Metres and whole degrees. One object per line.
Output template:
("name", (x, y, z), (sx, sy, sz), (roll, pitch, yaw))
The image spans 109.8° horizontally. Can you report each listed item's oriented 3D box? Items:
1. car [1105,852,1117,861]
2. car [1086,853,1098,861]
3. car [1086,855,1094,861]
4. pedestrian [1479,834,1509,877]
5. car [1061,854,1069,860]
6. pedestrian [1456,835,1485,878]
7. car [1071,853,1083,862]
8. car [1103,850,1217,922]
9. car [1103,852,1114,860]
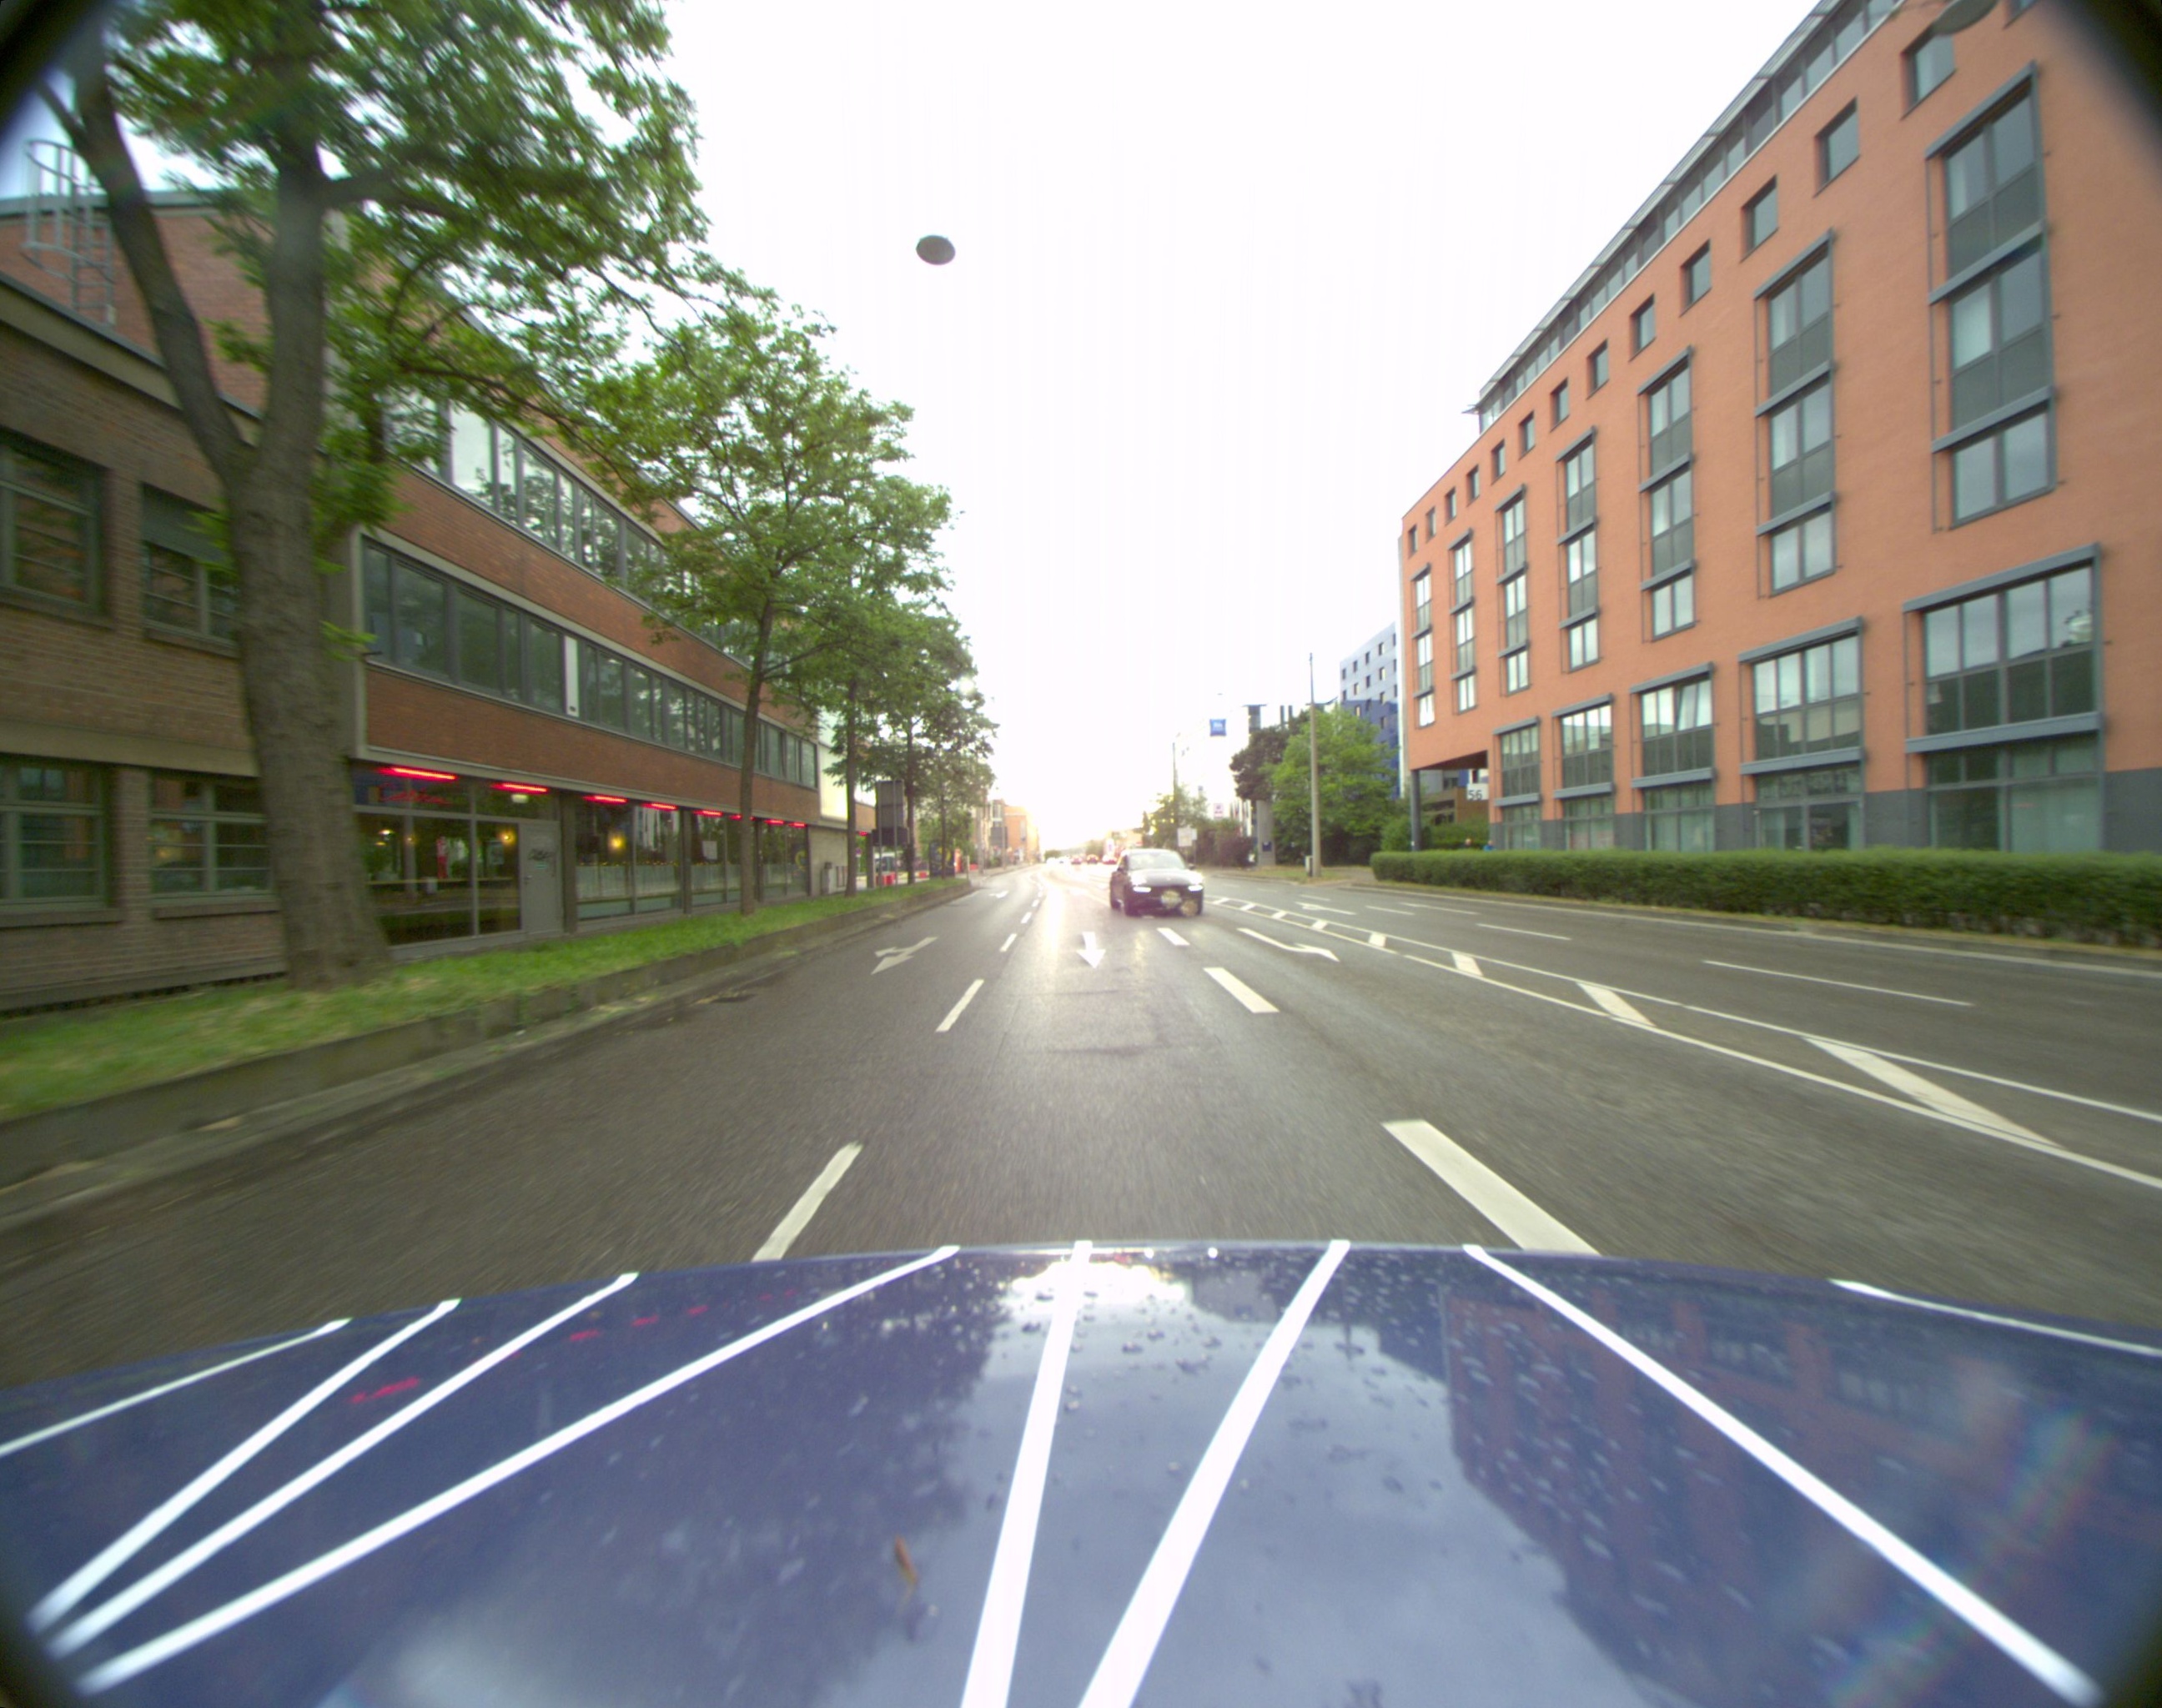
("car", (5.361, 0.459, 135.498), (1.767, 1.559, 3.999), (0, 0, -3))
("car", (2.054, 0.549, 144.084), (1.999, 1.543, 3.999), (-1, 0, 0))
("car", (2.175, 1.006, 187.013), (1.999, 1.543, 3.999), (-1, 0, 0))
("pedestrian", (18.010, 0.070, 33.163), (0.747, 1.830, 0.885), (-3, 1, -1))
("car", (-3.620, 0.718, 175.954), (1.799, 1.501, 4.000), (0, -1, 0))
("pedestrian", (17.086, 0.099, 33.361), (0.747, 1.830, 0.885), (-3, 1, -1))
("car", (-0.693, 0.632, 136.708), (1.999, 1.543, 3.999), (-1, 0, 0))
("car", (1.944, 0.755, 20.530), (1.999, 1.656, 5.422), (-1, 0, -6))
("car", (5.518, 0.431, 152.078), (1.767, 1.559, 3.999), (0, 0, -2))
